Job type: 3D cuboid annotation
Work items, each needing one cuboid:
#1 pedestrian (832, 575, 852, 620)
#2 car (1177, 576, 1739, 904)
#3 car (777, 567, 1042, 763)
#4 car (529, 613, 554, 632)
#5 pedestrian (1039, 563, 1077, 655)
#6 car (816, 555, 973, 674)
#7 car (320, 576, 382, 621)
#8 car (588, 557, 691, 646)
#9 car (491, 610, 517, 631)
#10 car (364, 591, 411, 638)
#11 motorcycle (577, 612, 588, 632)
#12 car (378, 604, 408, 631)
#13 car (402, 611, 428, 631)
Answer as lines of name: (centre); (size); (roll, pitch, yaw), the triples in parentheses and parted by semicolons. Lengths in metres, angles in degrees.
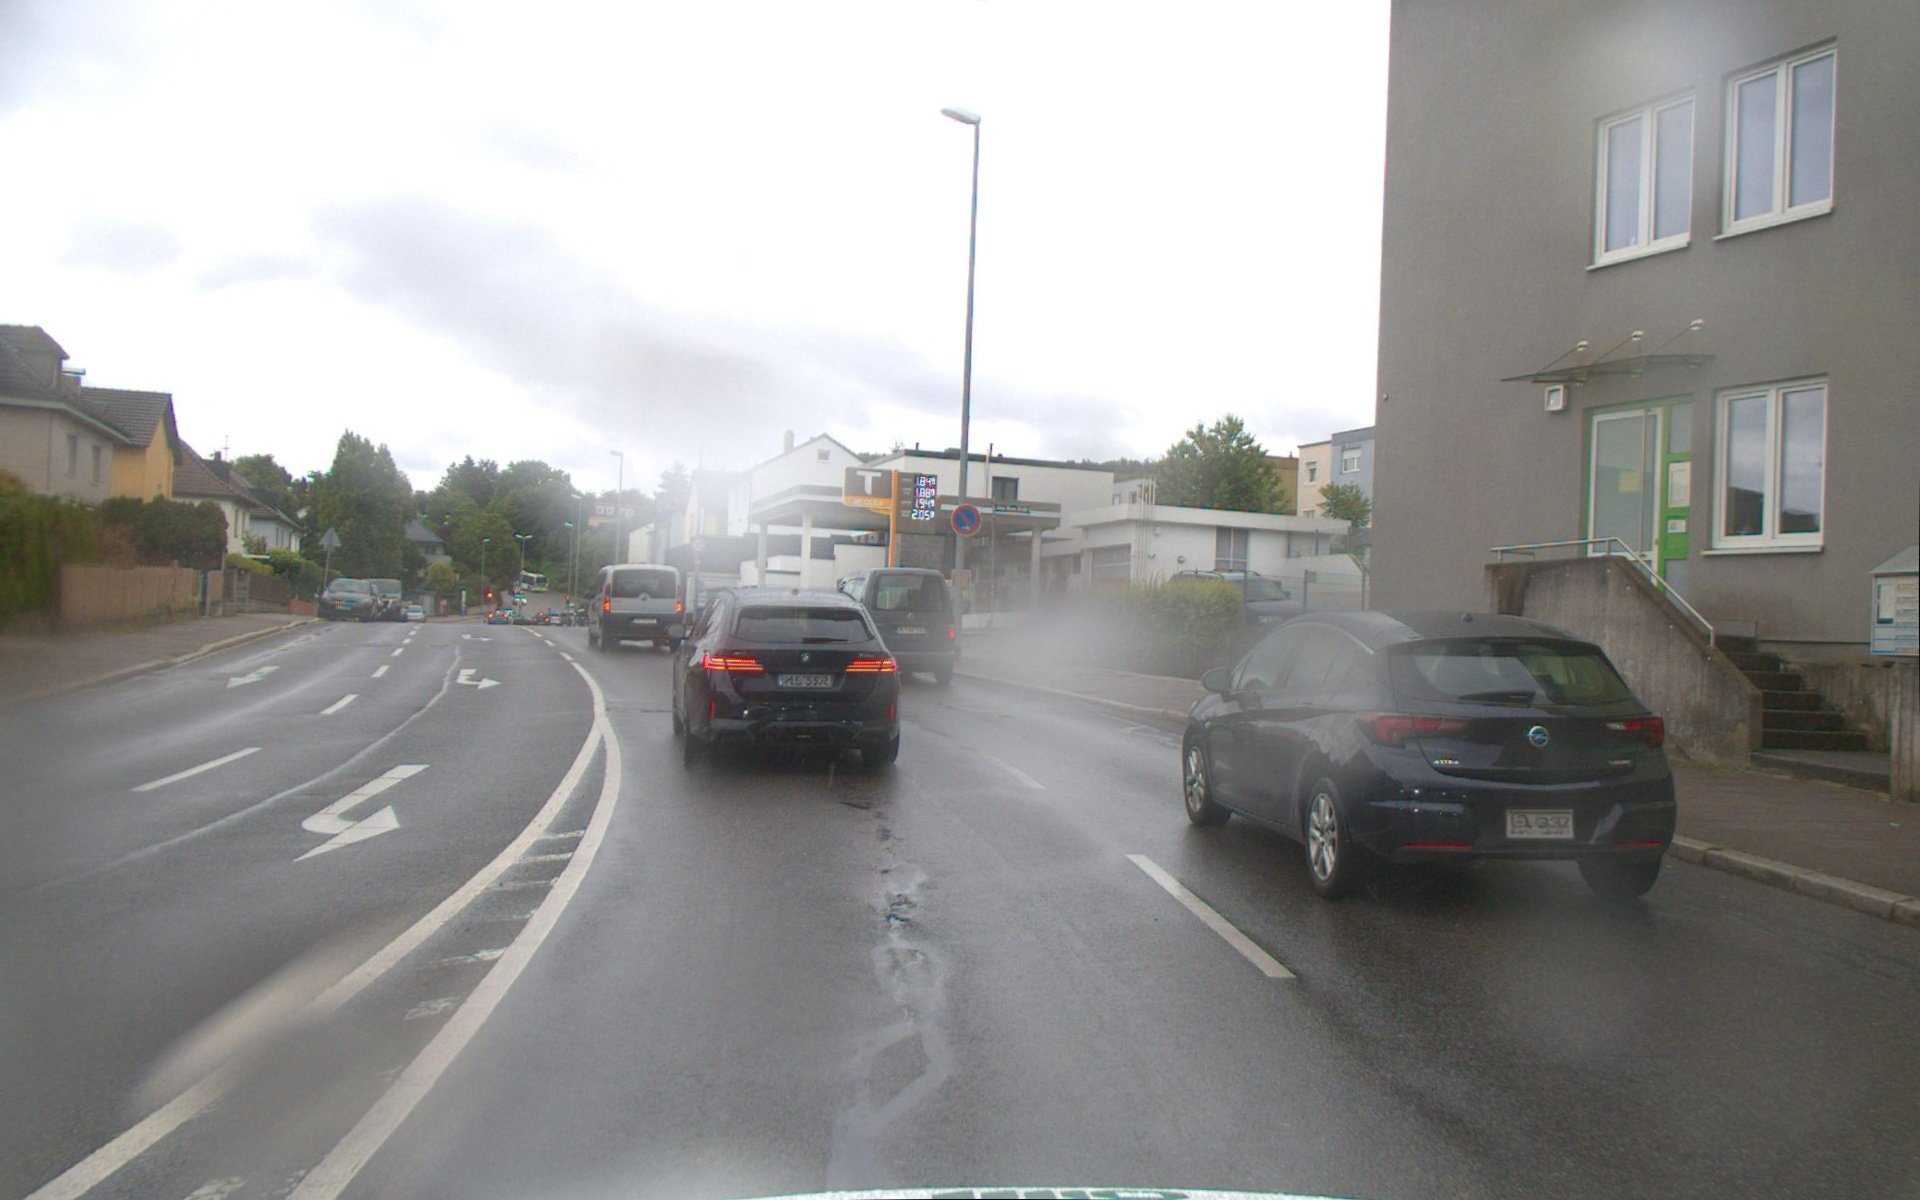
pedestrian: (-4.581, -0.096, 64.317); (0.600, 1.685, 0.583); (3, -2, -17)
car: (2.626, 0.704, 9.770); (1.723, 1.475, 3.994); (3, -1, -6)
car: (-0.616, 0.591, 15.426); (1.957, 1.510, 3.991); (3, -2, -9)
car: (-40.933, 2.190, 161.800); (1.964, 1.771, 3.976); (3, -2, -20)
pedestrian: (2.222, 0.217, 37.568); (0.702, 2.049, 0.613); (3, -2, -8)
car: (-1.189, 0.283, 28.093); (1.808, 1.798, 3.984); (3, -2, -14)
car: (-22.034, -0.022, 59.977); (1.722, 1.465, 4.111); (3, -2, -16)
car: (-7.219, 0.085, 36.950); (1.960, 1.768, 3.984); (3, -2, -14)
car: (-41.456, 1.841, 150.420); (1.959, 1.771, 3.986); (3, -2, -13)
car: (-26.371, 0.698, 76.186); (1.884, 2.038, 5.059); (3, -2, -19)
motorcycle: (-29.547, 1.720, 129.492); (0.692, 1.536, 2.140); (0, -1, -16)
car: (-33.129, 1.064, 96.658); (1.527, 1.456, 3.992); (3, -2, -19)
car: (-46.475, 1.804, 141.075); (1.854, 1.613, 3.981); (3, -2, -16)
